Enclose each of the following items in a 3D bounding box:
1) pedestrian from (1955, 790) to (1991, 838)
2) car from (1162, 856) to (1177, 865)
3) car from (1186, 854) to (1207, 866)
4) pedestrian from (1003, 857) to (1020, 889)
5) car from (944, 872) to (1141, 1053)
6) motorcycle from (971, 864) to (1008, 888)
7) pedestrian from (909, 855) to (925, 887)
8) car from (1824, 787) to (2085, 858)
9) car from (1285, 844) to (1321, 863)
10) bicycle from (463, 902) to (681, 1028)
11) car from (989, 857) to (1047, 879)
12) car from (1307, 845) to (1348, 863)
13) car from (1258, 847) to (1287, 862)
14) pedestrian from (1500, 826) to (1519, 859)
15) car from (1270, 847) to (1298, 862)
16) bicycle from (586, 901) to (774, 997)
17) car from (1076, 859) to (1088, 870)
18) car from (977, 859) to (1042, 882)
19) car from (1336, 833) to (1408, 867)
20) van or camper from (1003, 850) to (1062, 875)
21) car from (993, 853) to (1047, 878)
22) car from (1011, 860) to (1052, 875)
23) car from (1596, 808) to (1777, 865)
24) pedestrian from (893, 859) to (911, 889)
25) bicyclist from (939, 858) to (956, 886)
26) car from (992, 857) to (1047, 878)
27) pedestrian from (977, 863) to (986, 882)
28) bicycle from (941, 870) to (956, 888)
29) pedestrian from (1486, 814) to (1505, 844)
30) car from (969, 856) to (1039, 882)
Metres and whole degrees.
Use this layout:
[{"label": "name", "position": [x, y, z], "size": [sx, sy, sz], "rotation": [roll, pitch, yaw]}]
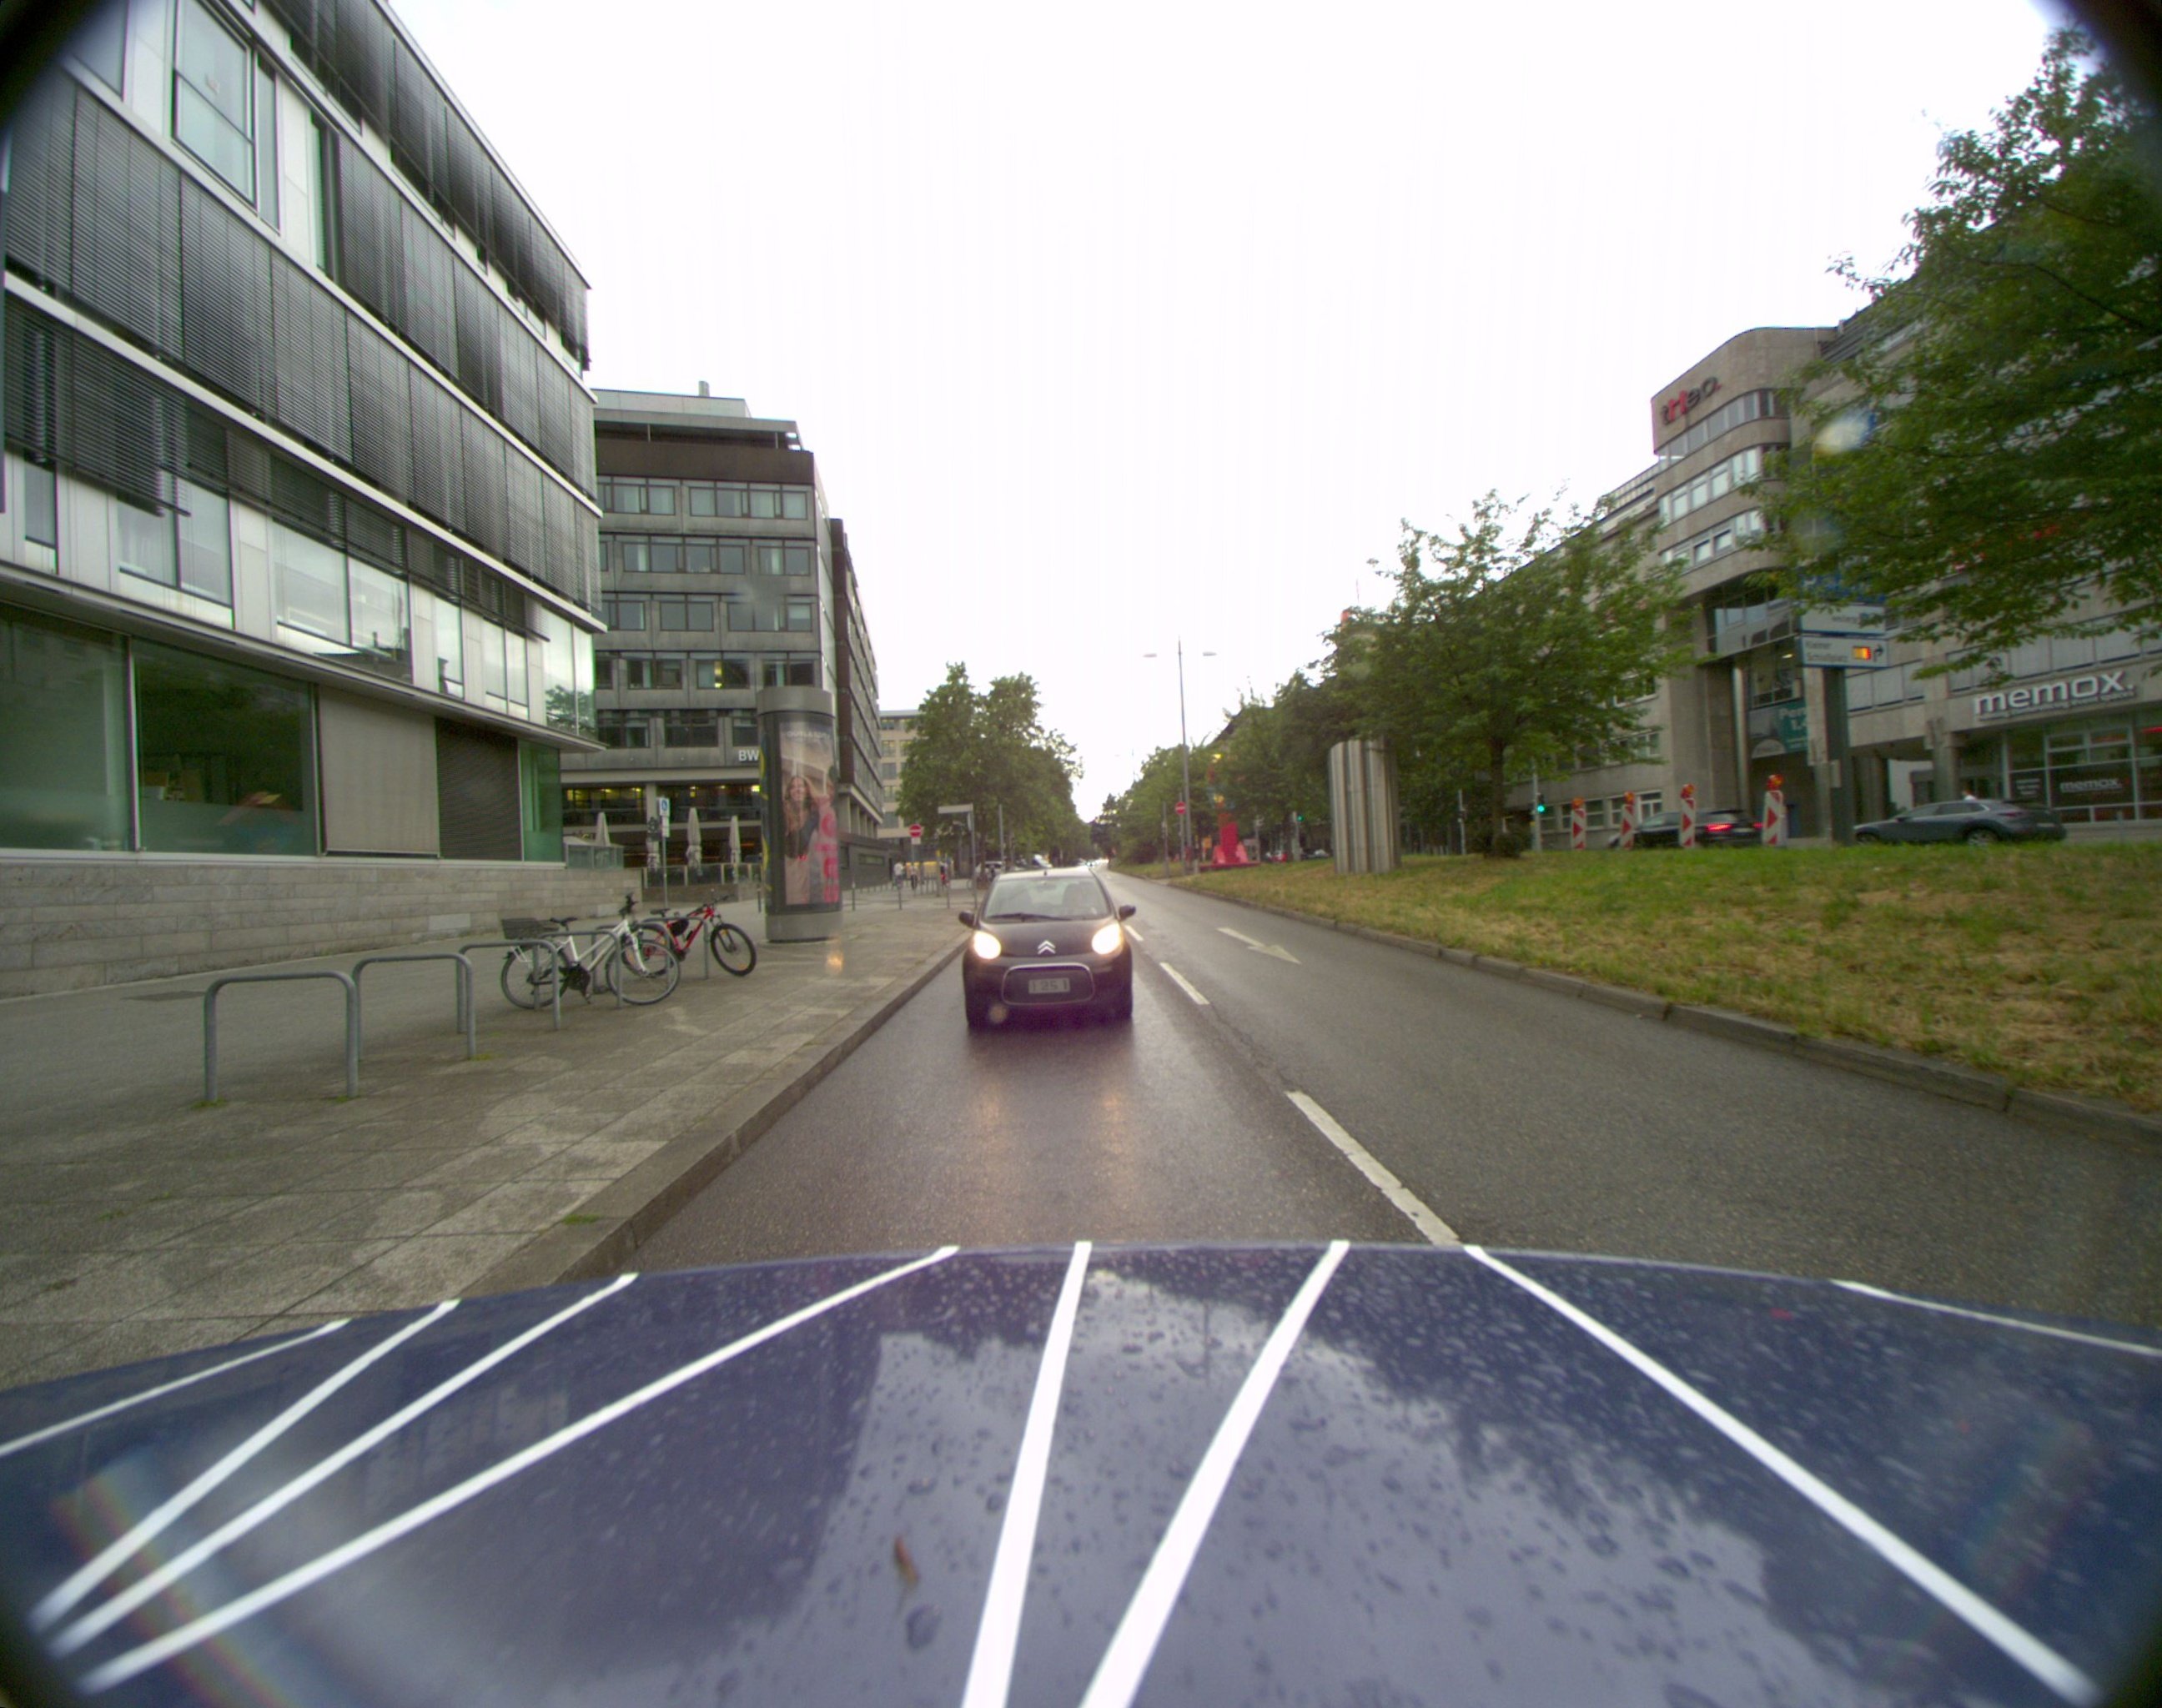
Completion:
[{"label": "pedestrian", "position": [34.820, -1.548, 29.663], "size": [0.721, 1.777, 0.529], "rotation": [-3, 0, -2]}, {"label": "car", "position": [13.793, 1.009, 118.702], "size": [1.794, 1.406, 4.000], "rotation": [-1, -1, -1]}, {"label": "car", "position": [15.042, 0.749, 99.187], "size": [1.866, 1.421, 4.566], "rotation": [-2, 0, -1]}, {"label": "pedestrian", "position": [-3.645, 0.999, 40.044], "size": [0.528, 1.675, 0.722], "rotation": [-3, 0, 22]}, {"label": "car", "position": [-0.401, 0.982, 8.500], "size": [1.634, 1.408, 3.834], "rotation": [-3, 0, -2]}, {"label": "motorcycle", "position": [-5.544, 1.318, 46.058], "size": [2.087, 1.349, 0.677], "rotation": [-3, 0, 7]}, {"label": "pedestrian", "position": [-10.525, 1.081, 48.824], "size": [0.852, 2.027, 0.752], "rotation": [-3, 0, -12]}, {"label": "car", "position": [24.747, -0.794, 21.878], "size": [1.867, 1.715, 4.791], "rotation": [-2, 0, -3]}, {"label": "car", "position": [20.985, -0.025, 72.102], "size": [1.867, 1.612, 4.467], "rotation": [-2, 0, -3]}, {"label": "bicycle", "position": [-5.297, 1.141, 7.966], "size": [1.840, 1.190, 0.660], "rotation": [-1, 0, 4]}, {"label": "car", "position": [-5.291, 1.187, 63.623], "size": [4.347, 1.528, 1.919], "rotation": [-4, 0, 27]}, {"label": "car", "position": [21.674, 0.006, 66.920], "size": [1.867, 1.421, 4.565], "rotation": [-2, 0, -3]}, {"label": "car", "position": [20.535, 0.117, 81.652], "size": [1.791, 1.478, 4.574], "rotation": [-2, 0, -3]}, {"label": "pedestrian", "position": [23.268, -0.622, 41.279], "size": [0.529, 1.777, 0.721], "rotation": [-3, 0, 1]}, {"label": "car", "position": [20.565, 0.073, 77.095], "size": [1.690, 1.493, 3.692], "rotation": [-2, 0, -3]}, {"label": "bicycle", "position": [-5.137, 1.204, 9.818], "size": [1.988, 1.097, 0.808], "rotation": [-2, 0, 4]}, {"label": "car", "position": [0.129, 1.734, 128.542], "size": [1.791, 1.736, 4.574], "rotation": [-2, 0, -3]}, {"label": "car", "position": [-5.579, 1.265, 58.778], "size": [4.711, 1.465, 1.920], "rotation": [-4, 0, 32]}, {"label": "car", "position": [15.938, -0.189, 41.819], "size": [1.951, 1.690, 3.997], "rotation": [-3, 0, -8]}, {"label": "van or camper", "position": [-5.526, 1.014, 86.371], "size": [6.251, 2.432, 2.319], "rotation": [-4, 0, 30]}, {"label": "car", "position": [-5.540, 1.060, 69.258], "size": [4.507, 1.981, 1.925], "rotation": [-4, 0, 29]}, {"label": "car", "position": [-5.389, 1.447, 82.705], "size": [4.052, 1.415, 1.711], "rotation": [-4, 0, 29]}, {"label": "car", "position": [17.903, -0.473, 22.737], "size": [1.873, 1.466, 3.997], "rotation": [-3, 0, -8]}, {"label": "pedestrian", "position": [-11.469, 1.243, 48.654], "size": [0.803, 1.857, 0.898], "rotation": [-3, 0, 0]}, {"label": "bicyclist", "position": [-8.852, 1.161, 50.351], "size": [0.812, 1.739, 1.078], "rotation": [-7, 2, -14]}, {"label": "car", "position": [-5.376, 1.199, 66.376], "size": [4.381, 1.528, 1.919], "rotation": [-4, 0, 27]}, {"label": "pedestrian", "position": [-10.150, 1.921, 77.388], "size": [0.721, 1.873, 0.656], "rotation": [-3, 0, -6]}, {"label": "bicycle", "position": [-8.795, 1.658, 50.329], "size": [0.777, 1.132, 1.976], "rotation": [-6, 0, -12]}, {"label": "pedestrian", "position": [23.063, -1.382, 42.256], "size": [0.607, 1.619, 0.620], "rotation": [-3, 0, 1]}, {"label": "car", "position": [-5.645, 1.103, 55.611], "size": [4.792, 1.640, 1.920], "rotation": [-4, 0, 30]}]
